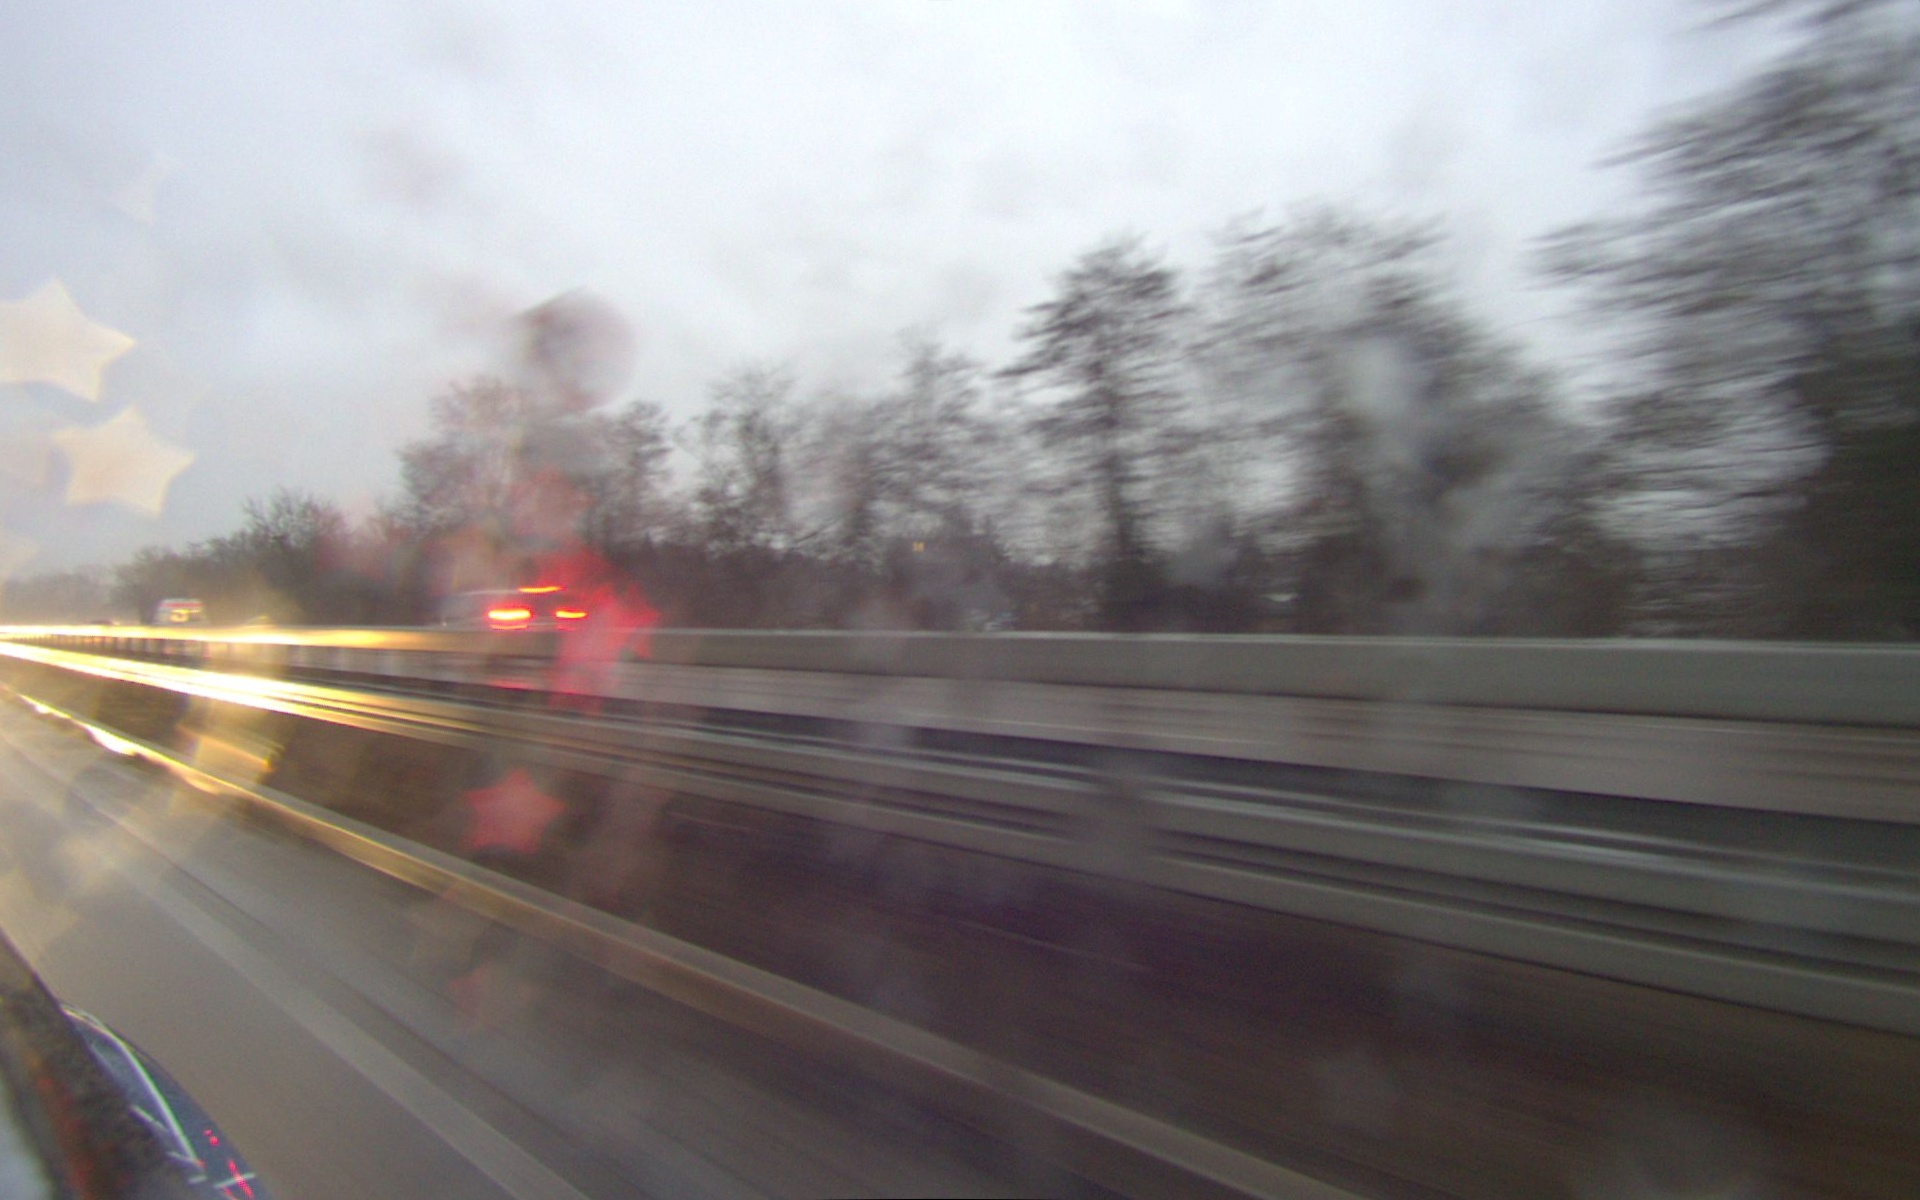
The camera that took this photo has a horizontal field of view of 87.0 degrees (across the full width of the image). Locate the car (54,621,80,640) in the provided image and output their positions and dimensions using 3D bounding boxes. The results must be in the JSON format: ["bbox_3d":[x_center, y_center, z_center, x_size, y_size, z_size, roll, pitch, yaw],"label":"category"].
[{"bbox_3d":[-96.277,3.277,109.096,4.304,1.929,1.825,-2,-1,44],"label":"car"}]

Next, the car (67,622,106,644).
[{"bbox_3d":[-66.081,2.503,76.554,4.304,1.540,1.825,-2,-1,44],"label":"car"}]

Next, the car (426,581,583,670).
[{"bbox_3d":[-11.288,0.568,24.929,4.537,1.988,1.914,0,0,43],"label":"car"}]

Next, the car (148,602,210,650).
[{"bbox_3d":[-42.067,1.397,54.452,5.417,2.455,1.825,-2,-1,44],"label":"car"}]
